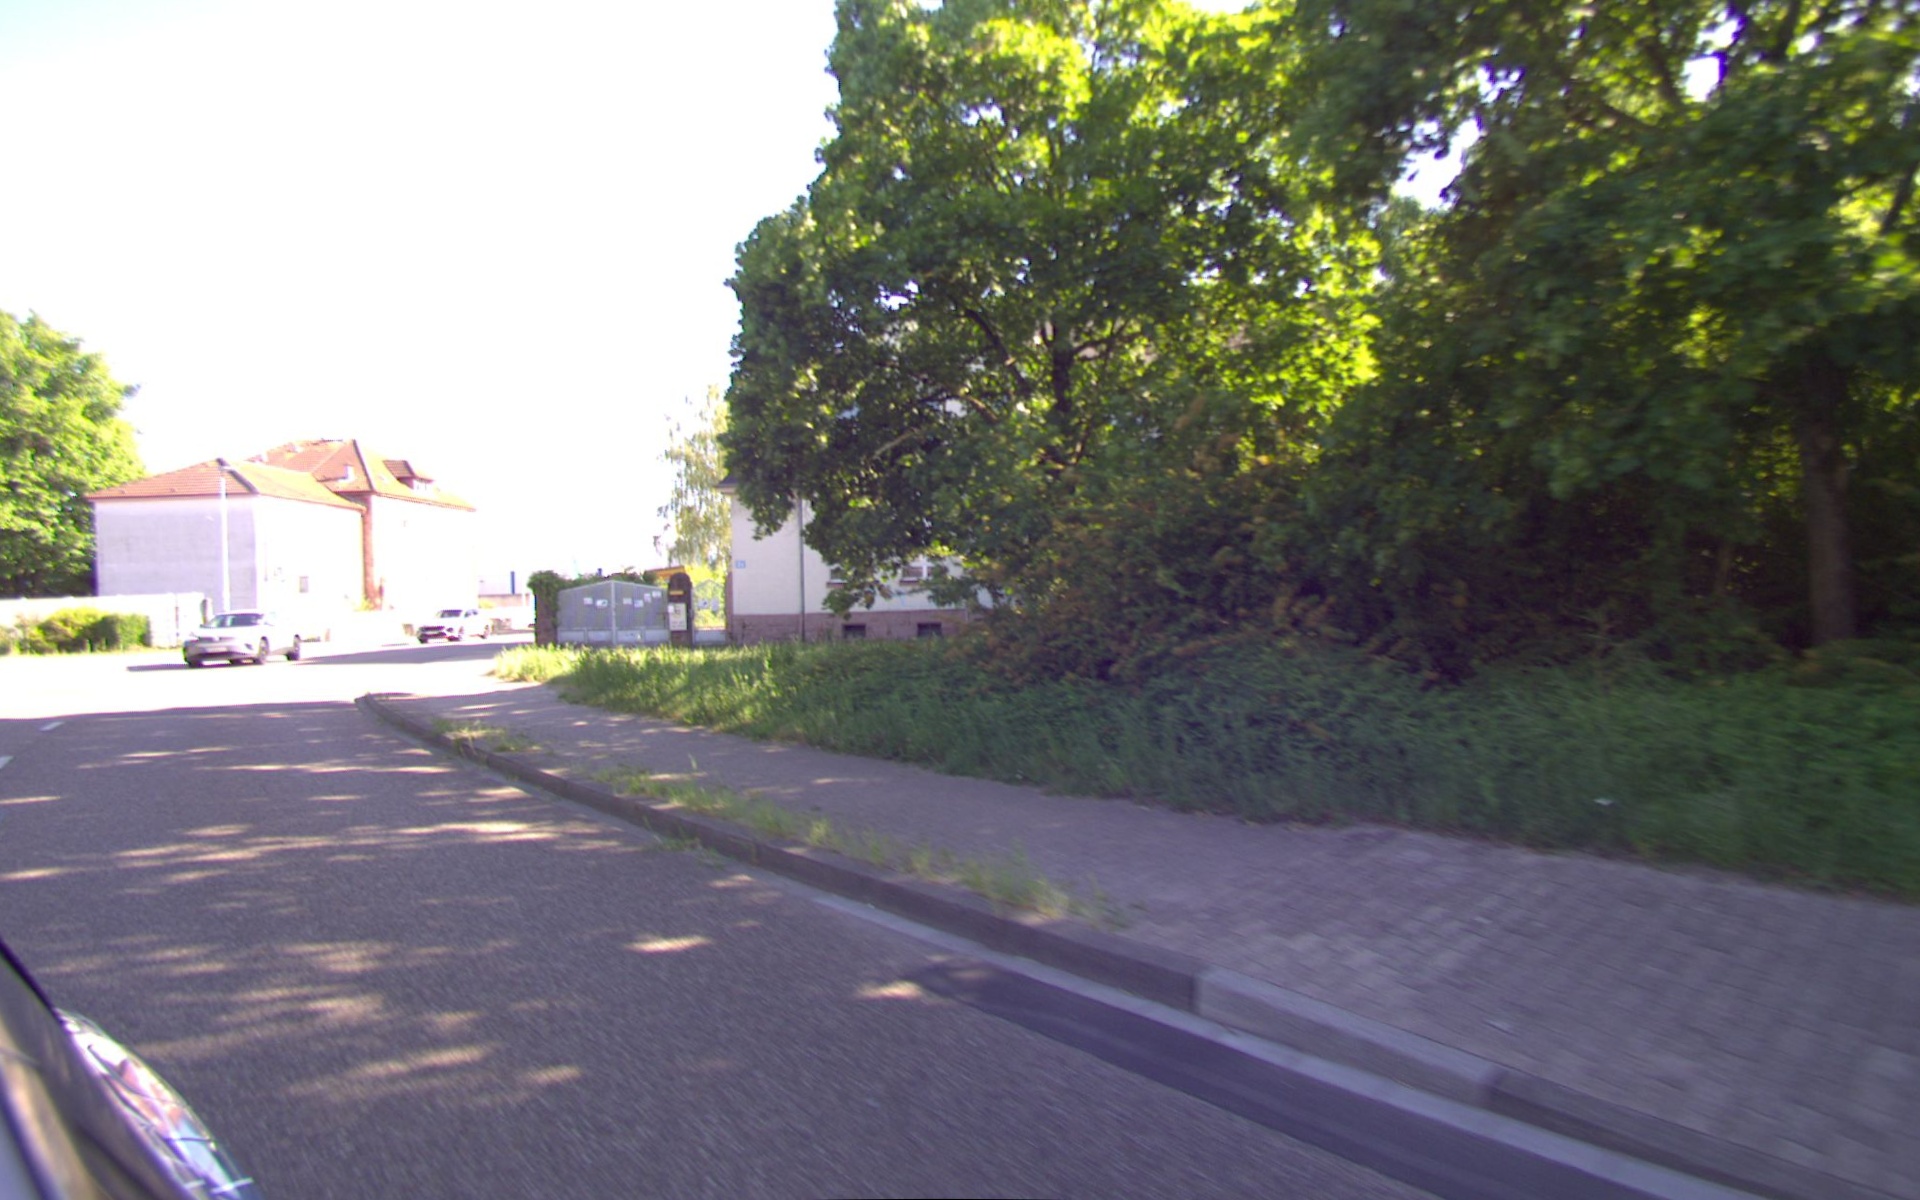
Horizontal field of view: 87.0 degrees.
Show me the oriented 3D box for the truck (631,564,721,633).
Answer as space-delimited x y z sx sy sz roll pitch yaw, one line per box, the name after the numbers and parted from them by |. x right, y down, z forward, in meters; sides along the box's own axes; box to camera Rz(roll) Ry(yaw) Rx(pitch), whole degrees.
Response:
-17.220 -0.087 61.986 2.812 3.646 8.004 -7 0 1 | truck

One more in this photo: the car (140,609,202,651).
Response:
-36.978 1.385 47.385 1.969 1.791 4.371 -2 0 -42 | car

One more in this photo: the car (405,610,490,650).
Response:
-23.241 1.322 46.098 1.825 1.643 4.297 -2 0 -2 | car

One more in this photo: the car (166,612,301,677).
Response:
-21.238 1.226 29.807 1.820 1.643 4.308 -4 0 -16 | car
